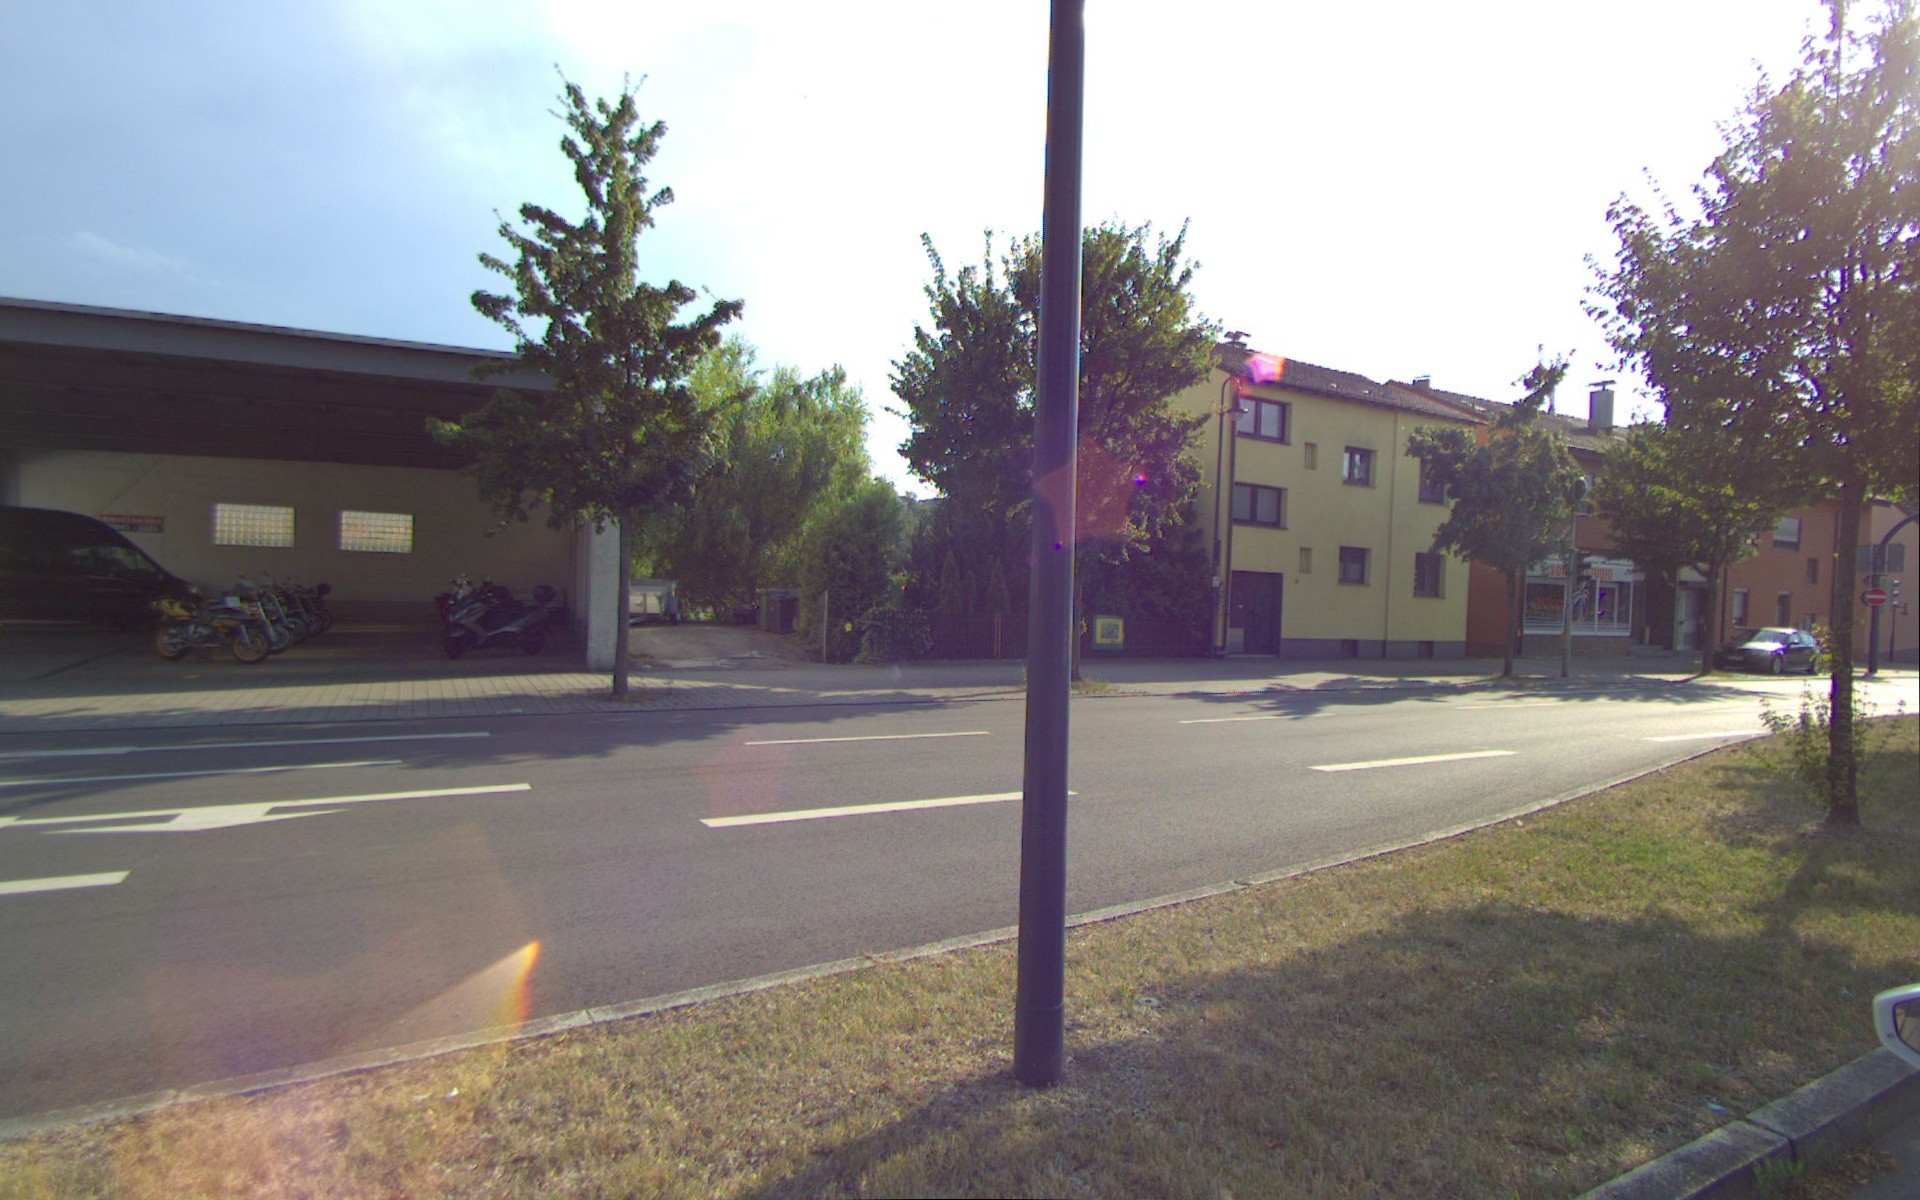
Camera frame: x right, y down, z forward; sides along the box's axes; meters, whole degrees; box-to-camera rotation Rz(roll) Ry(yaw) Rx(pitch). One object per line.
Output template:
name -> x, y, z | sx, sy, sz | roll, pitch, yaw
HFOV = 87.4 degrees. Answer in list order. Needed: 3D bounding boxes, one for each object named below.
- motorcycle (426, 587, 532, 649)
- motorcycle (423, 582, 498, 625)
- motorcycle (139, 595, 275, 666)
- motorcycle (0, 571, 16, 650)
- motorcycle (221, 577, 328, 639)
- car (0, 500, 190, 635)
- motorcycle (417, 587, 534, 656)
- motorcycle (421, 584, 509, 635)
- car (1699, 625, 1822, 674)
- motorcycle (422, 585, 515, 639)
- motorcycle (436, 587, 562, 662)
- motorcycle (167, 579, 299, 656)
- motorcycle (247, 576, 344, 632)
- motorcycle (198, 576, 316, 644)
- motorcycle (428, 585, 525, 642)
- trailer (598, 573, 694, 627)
motorcycle -> -10.748, 0.379, 22.526 | 0.621, 1.314, 2.113 | 1, 2, 36
motorcycle -> -15.966, 0.096, 32.166 | 0.621, 1.314, 2.113 | 1, 2, 36
motorcycle -> -12.501, 0.498, 16.686 | 1.993, 1.101, 0.631 | 1, 0, 12
motorcycle -> -17.292, 0.164, 16.713 | 0.619, 1.380, 2.225 | 1, 0, 24
motorcycle -> -15.890, 0.176, 23.303 | 2.219, 1.354, 0.631 | 1, 0, 10
car -> -20.458, -0.687, 22.080 | 1.962, 2.789, 5.280 | 1, 0, 26
motorcycle -> -9.818, 0.397, 20.449 | 0.621, 1.314, 2.113 | 1, 2, 36
motorcycle -> -13.519, 0.235, 27.507 | 0.621, 1.314, 2.113 | 1, 2, 36
car -> 25.962, 1.592, 32.548 | 3.953, 1.319, 1.728 | 1, 4, -30
motorcycle -> -12.655, 0.287, 25.910 | 0.621, 1.314, 2.113 | 1, 2, 36
motorcycle -> -8.624, 0.425, 18.887 | 0.621, 1.314, 2.113 | 1, 2, 36
motorcycle -> -13.637, 0.314, 18.851 | 2.219, 1.354, 0.631 | 1, 0, 10
motorcycle -> -16.915, 0.097, 25.561 | 2.219, 1.354, 0.631 | 1, 0, 10
motorcycle -> -14.758, 0.200, 21.094 | 2.219, 1.354, 0.631 | 1, 0, 10
motorcycle -> -11.772, 0.307, 24.527 | 0.621, 1.314, 2.113 | 1, 2, 36
trailer -> -8.223, -0.011, 26.607 | 1.698, 1.280, 3.995 | 1, 0, -7
